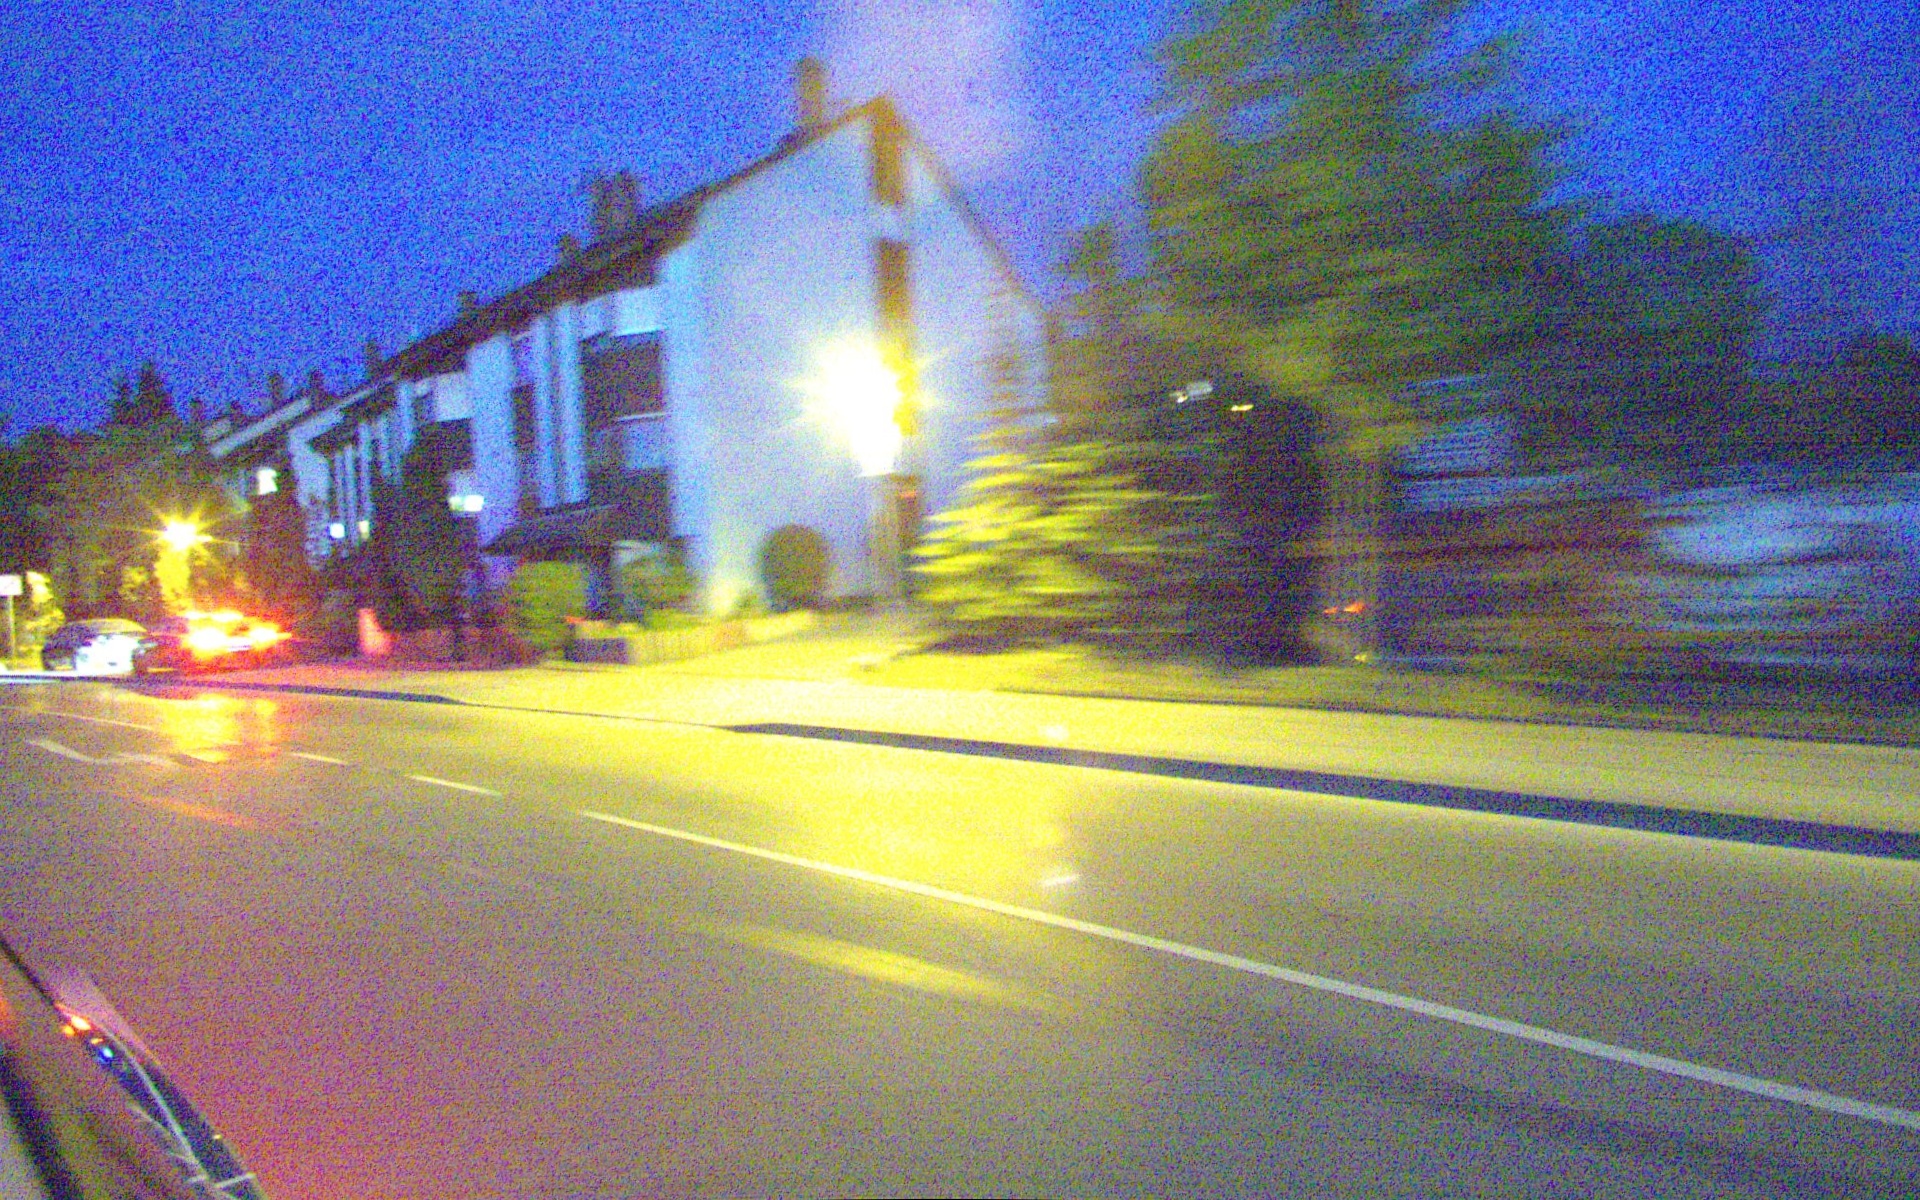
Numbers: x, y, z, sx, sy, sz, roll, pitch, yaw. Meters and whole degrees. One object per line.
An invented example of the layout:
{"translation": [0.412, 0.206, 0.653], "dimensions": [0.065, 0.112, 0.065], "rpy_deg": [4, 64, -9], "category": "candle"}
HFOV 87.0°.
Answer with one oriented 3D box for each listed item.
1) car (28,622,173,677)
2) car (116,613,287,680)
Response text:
{"translation": [-25.244, 1.440, 29.683], "dimensions": [4.584, 1.390, 1.978], "rpy_deg": [-2, 1, 33], "category": "car"}
{"translation": [-19.062, 1.157, 25.367], "dimensions": [4.901, 1.456, 1.834], "rpy_deg": [-2, 1, 33], "category": "car"}
